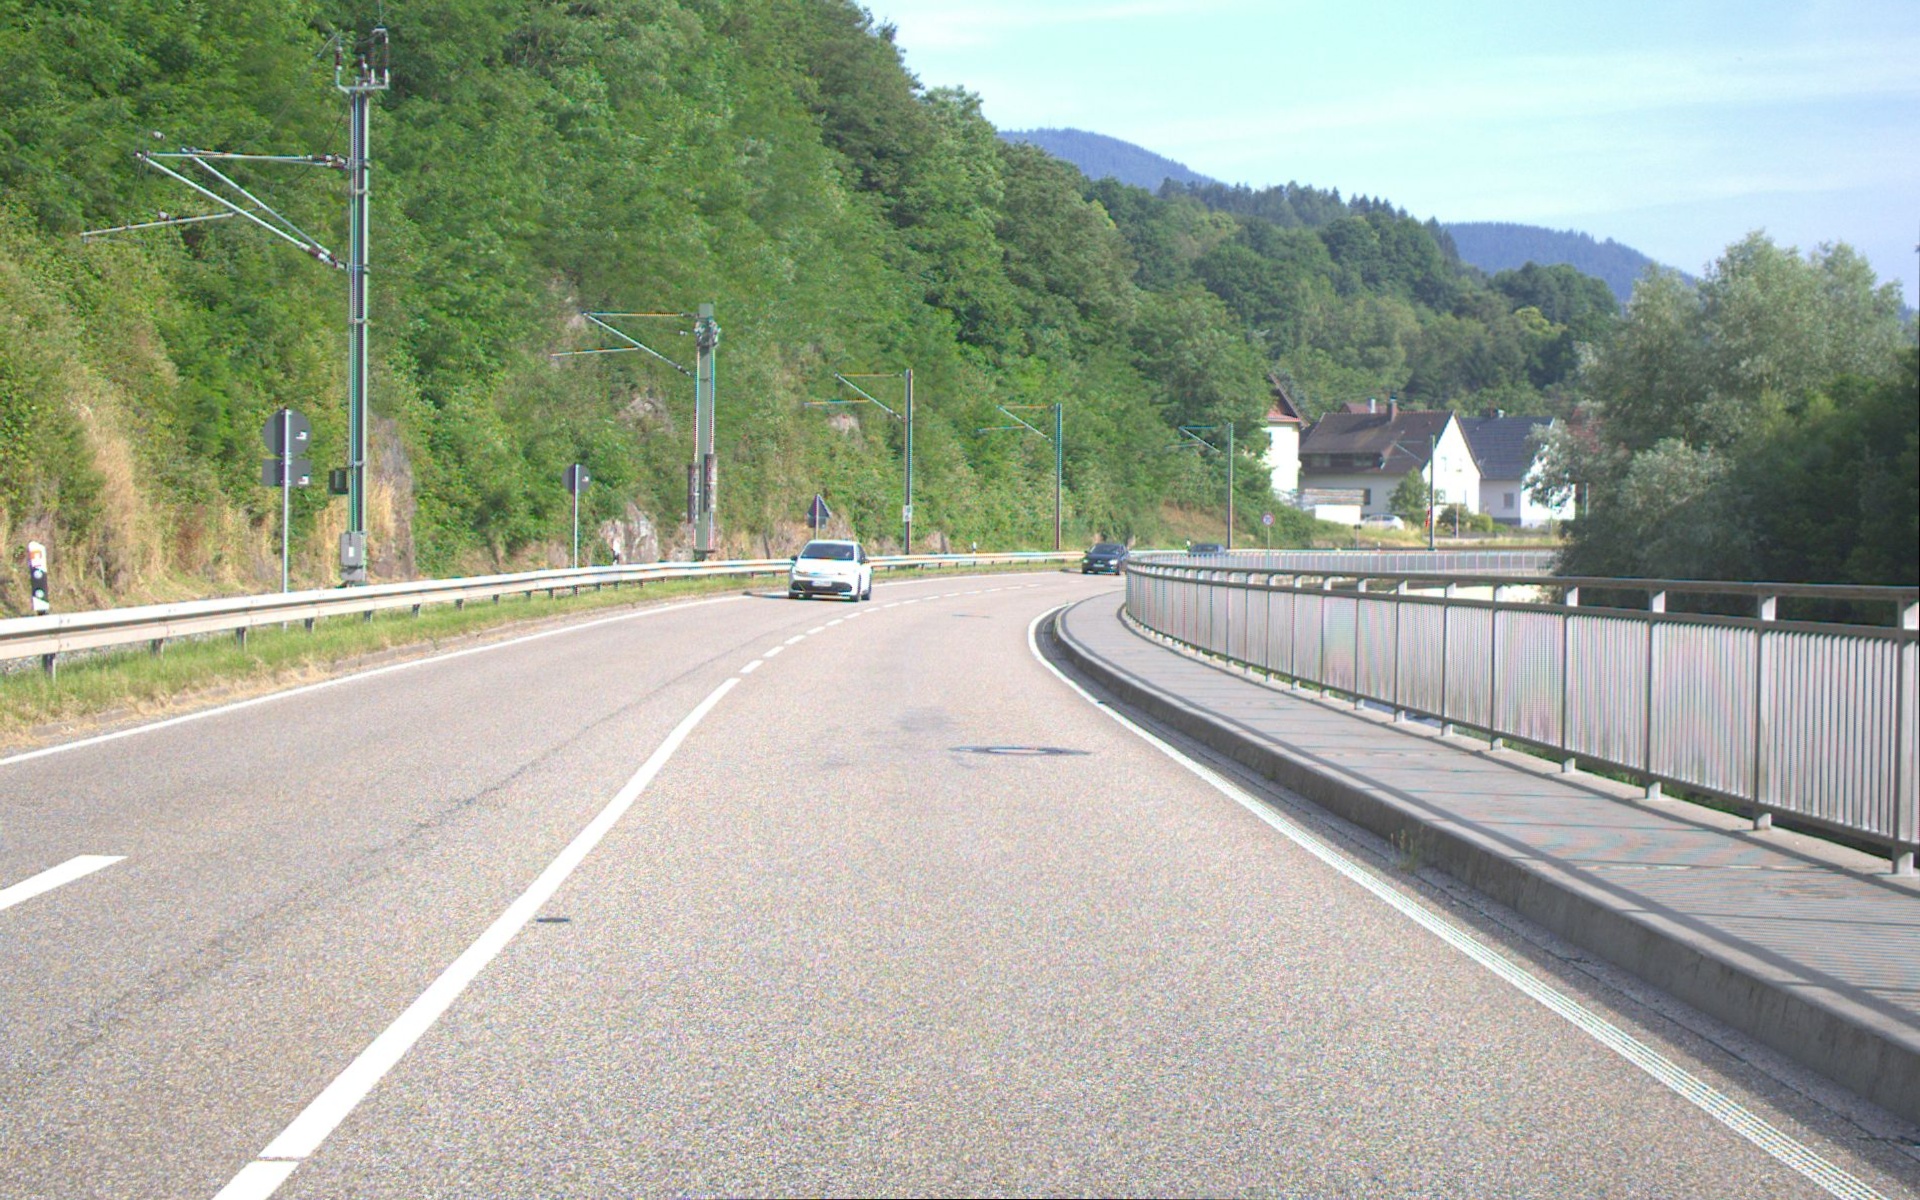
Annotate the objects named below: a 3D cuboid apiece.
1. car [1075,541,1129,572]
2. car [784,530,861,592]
[{"bbox_3d":[6.547,-2.005,158.233,1.848,1.435,3.895,0,1,12],"label":"car"},{"bbox_3d":[-3.510,-1.020,88.273,1.847,1.539,4.604,0,1,-1],"label":"car"}]
